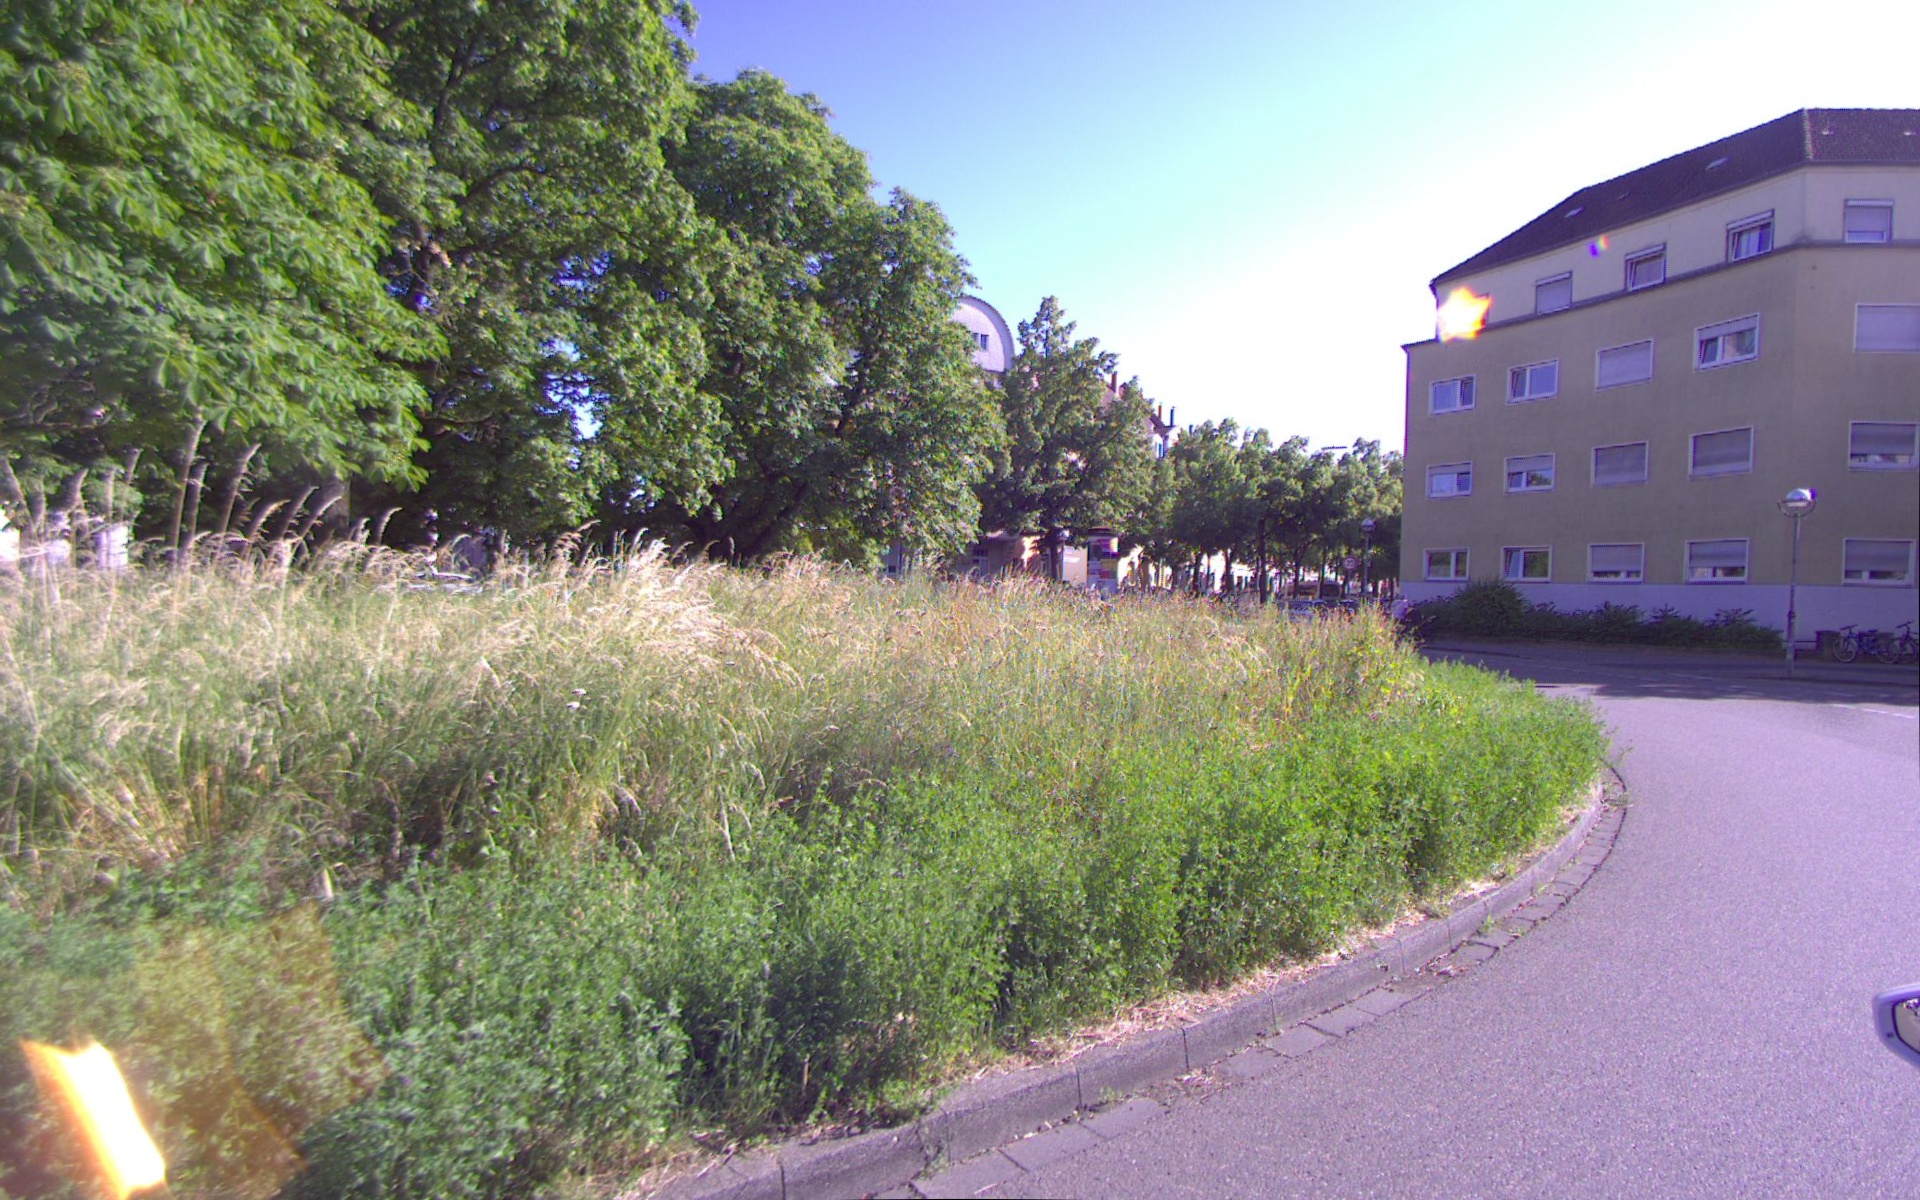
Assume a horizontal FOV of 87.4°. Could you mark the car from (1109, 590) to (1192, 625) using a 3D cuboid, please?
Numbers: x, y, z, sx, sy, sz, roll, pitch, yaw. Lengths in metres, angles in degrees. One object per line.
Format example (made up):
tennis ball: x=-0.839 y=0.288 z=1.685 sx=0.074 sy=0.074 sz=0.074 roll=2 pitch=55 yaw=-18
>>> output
car: x=9.119 y=0.340 z=48.245 sx=1.720 sy=1.567 sz=3.639 roll=2 pitch=0 yaw=-42

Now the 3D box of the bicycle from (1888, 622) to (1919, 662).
bicycle: x=25.312 y=1.110 z=26.294 sx=1.426 sy=1.040 sz=0.498 roll=2 pitch=1 yaw=36

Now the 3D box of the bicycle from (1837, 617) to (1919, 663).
bicycle: x=24.075 y=1.040 z=26.158 sx=1.771 sy=1.122 sz=0.498 roll=2 pitch=1 yaw=36

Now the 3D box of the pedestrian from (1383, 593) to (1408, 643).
pedestrian: x=13.876 y=0.567 z=32.008 sx=0.639 sy=1.544 sz=0.695 roll=0 pitch=0 yaw=34

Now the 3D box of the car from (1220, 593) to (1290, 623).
car: x=17.737 y=0.467 z=60.446 sx=3.633 sy=1.658 sz=1.723 roll=2 pitch=0 yaw=43

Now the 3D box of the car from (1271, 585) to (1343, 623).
car: x=14.199 y=0.176 z=40.951 sx=1.703 sy=1.430 sz=4.477 roll=2 pitch=0 yaw=33

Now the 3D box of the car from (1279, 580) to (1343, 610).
car: x=24.944 y=-0.390 z=71.517 sx=2.141 sy=2.014 sz=4.178 roll=2 pitch=0 yaw=-21

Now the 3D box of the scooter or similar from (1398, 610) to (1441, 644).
scooter or similar: x=14.408 y=0.827 z=31.489 sx=0.890 sy=1.037 sz=0.908 roll=0 pitch=0 yaw=-36

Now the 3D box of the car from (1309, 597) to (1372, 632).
car: x=17.169 y=0.667 z=45.159 sx=1.706 sy=1.458 sz=4.375 roll=2 pitch=0 yaw=33

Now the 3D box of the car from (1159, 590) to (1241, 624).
car: x=12.159 y=0.337 z=50.942 sx=3.633 sy=1.567 sz=1.723 roll=2 pitch=0 yaw=43

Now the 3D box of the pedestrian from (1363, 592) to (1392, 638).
pedestrian: x=14.136 y=0.502 z=34.031 sx=0.811 sy=1.544 sz=0.696 roll=0 pitch=0 yaw=31

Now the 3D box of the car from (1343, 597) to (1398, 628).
car: x=20.390 y=0.627 z=49.785 sx=1.706 sy=1.458 sz=4.375 roll=2 pitch=0 yaw=33
